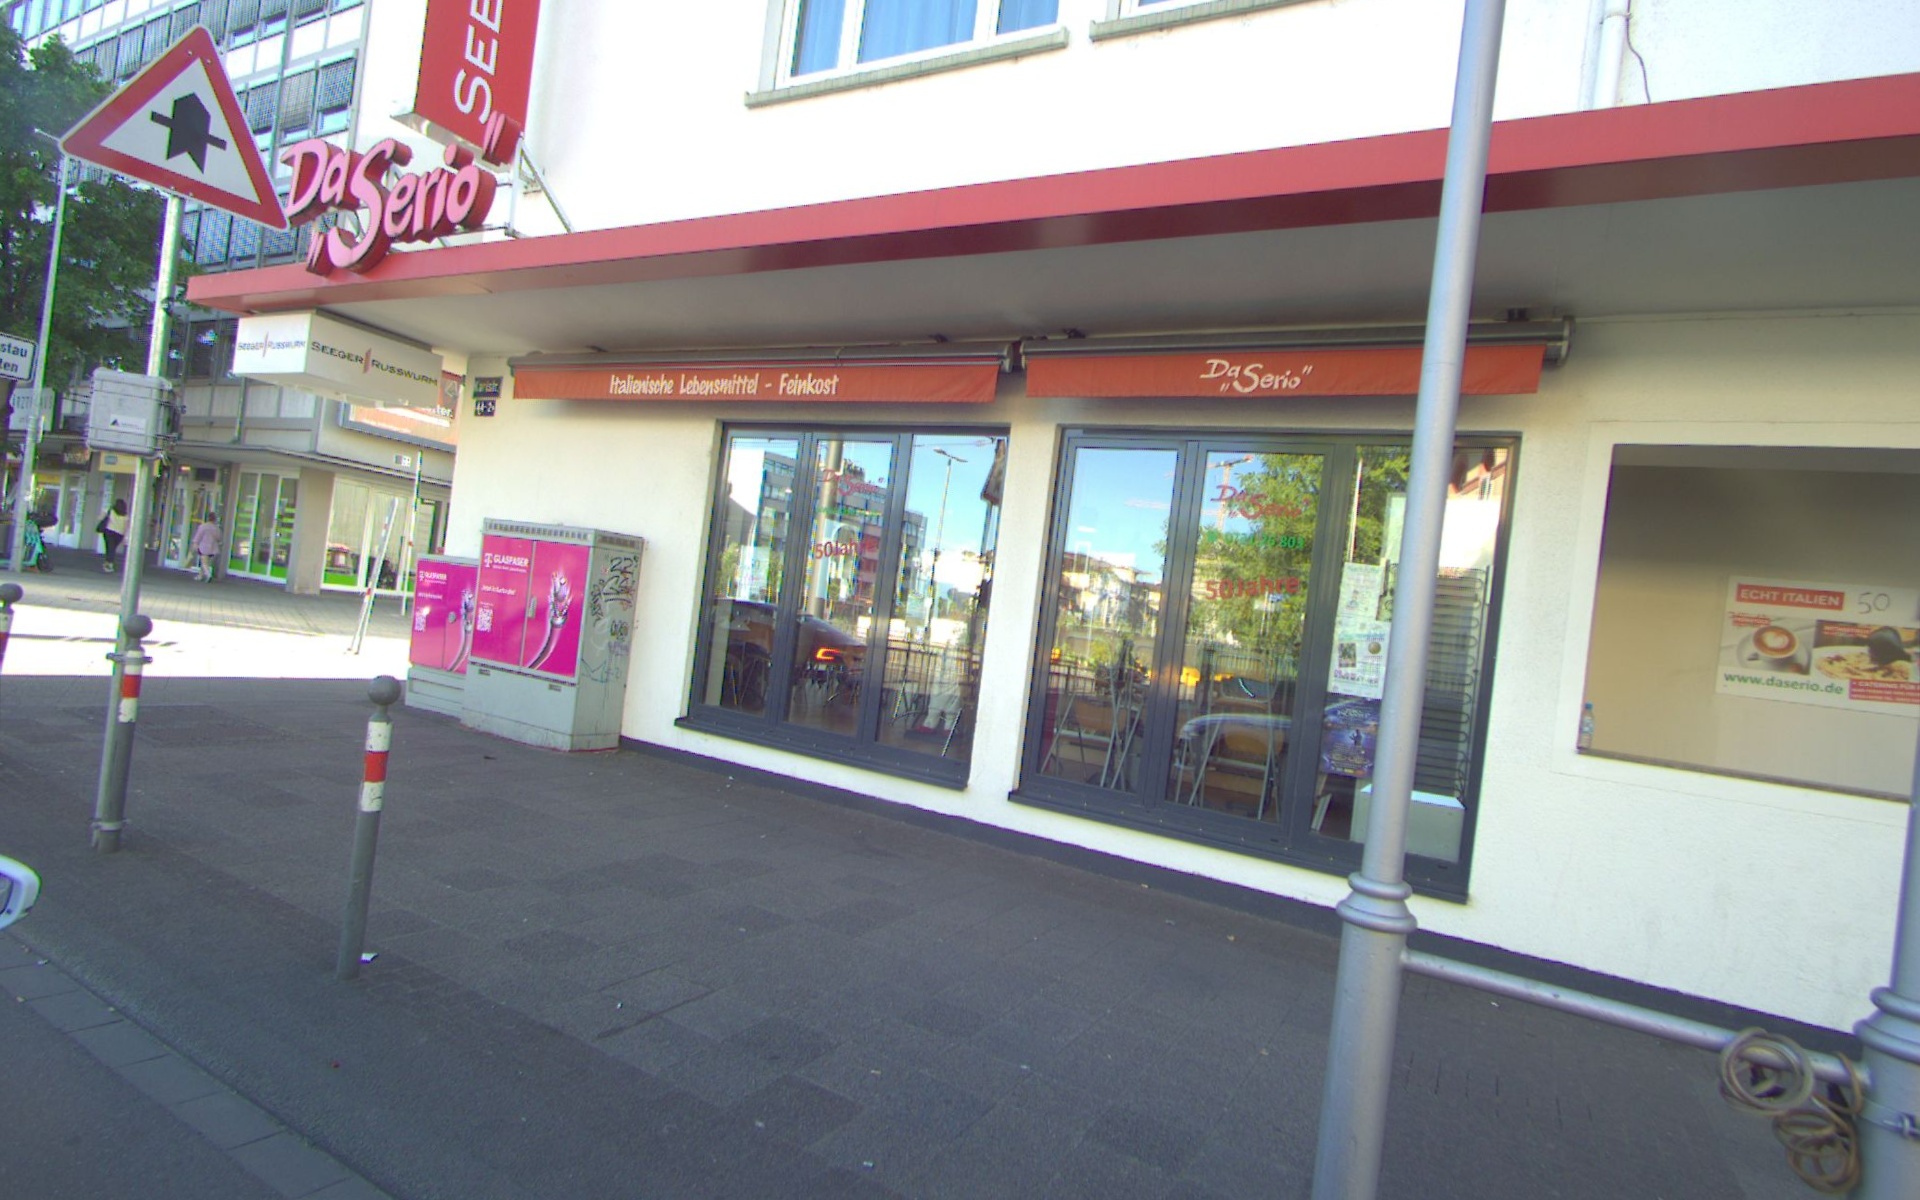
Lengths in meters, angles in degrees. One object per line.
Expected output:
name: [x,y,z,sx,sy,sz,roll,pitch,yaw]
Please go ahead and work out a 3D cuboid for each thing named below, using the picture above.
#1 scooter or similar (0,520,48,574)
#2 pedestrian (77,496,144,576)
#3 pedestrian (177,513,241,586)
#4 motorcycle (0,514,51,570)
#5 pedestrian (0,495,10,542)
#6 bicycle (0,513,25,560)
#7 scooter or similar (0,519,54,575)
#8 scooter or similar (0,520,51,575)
scooter or similar: [-20.007,-1.127,21.286,0.157,1.039,0.964,7,-1,34]
pedestrian: [-20.260,-1.523,23.997,0.865,1.727,0.844,6,-1,31]
pedestrian: [-18.384,-1.239,24.640,0.865,1.621,0.844,6,-1,31]
motorcycle: [-21.556,-1.370,22.402,0.495,1.142,1.791,7,-2,29]
pedestrian: [-30.541,-2.617,31.735,0.613,1.438,0.644,6,-1,42]
bicycle: [-23.179,-1.577,23.529,0.392,1.069,1.856,7,0,21]
scooter or similar: [-19.681,-1.114,21.065,0.157,1.056,0.964,7,-1,34]
scooter or similar: [-19.843,-1.119,21.175,0.157,1.051,0.957,7,-1,34]
